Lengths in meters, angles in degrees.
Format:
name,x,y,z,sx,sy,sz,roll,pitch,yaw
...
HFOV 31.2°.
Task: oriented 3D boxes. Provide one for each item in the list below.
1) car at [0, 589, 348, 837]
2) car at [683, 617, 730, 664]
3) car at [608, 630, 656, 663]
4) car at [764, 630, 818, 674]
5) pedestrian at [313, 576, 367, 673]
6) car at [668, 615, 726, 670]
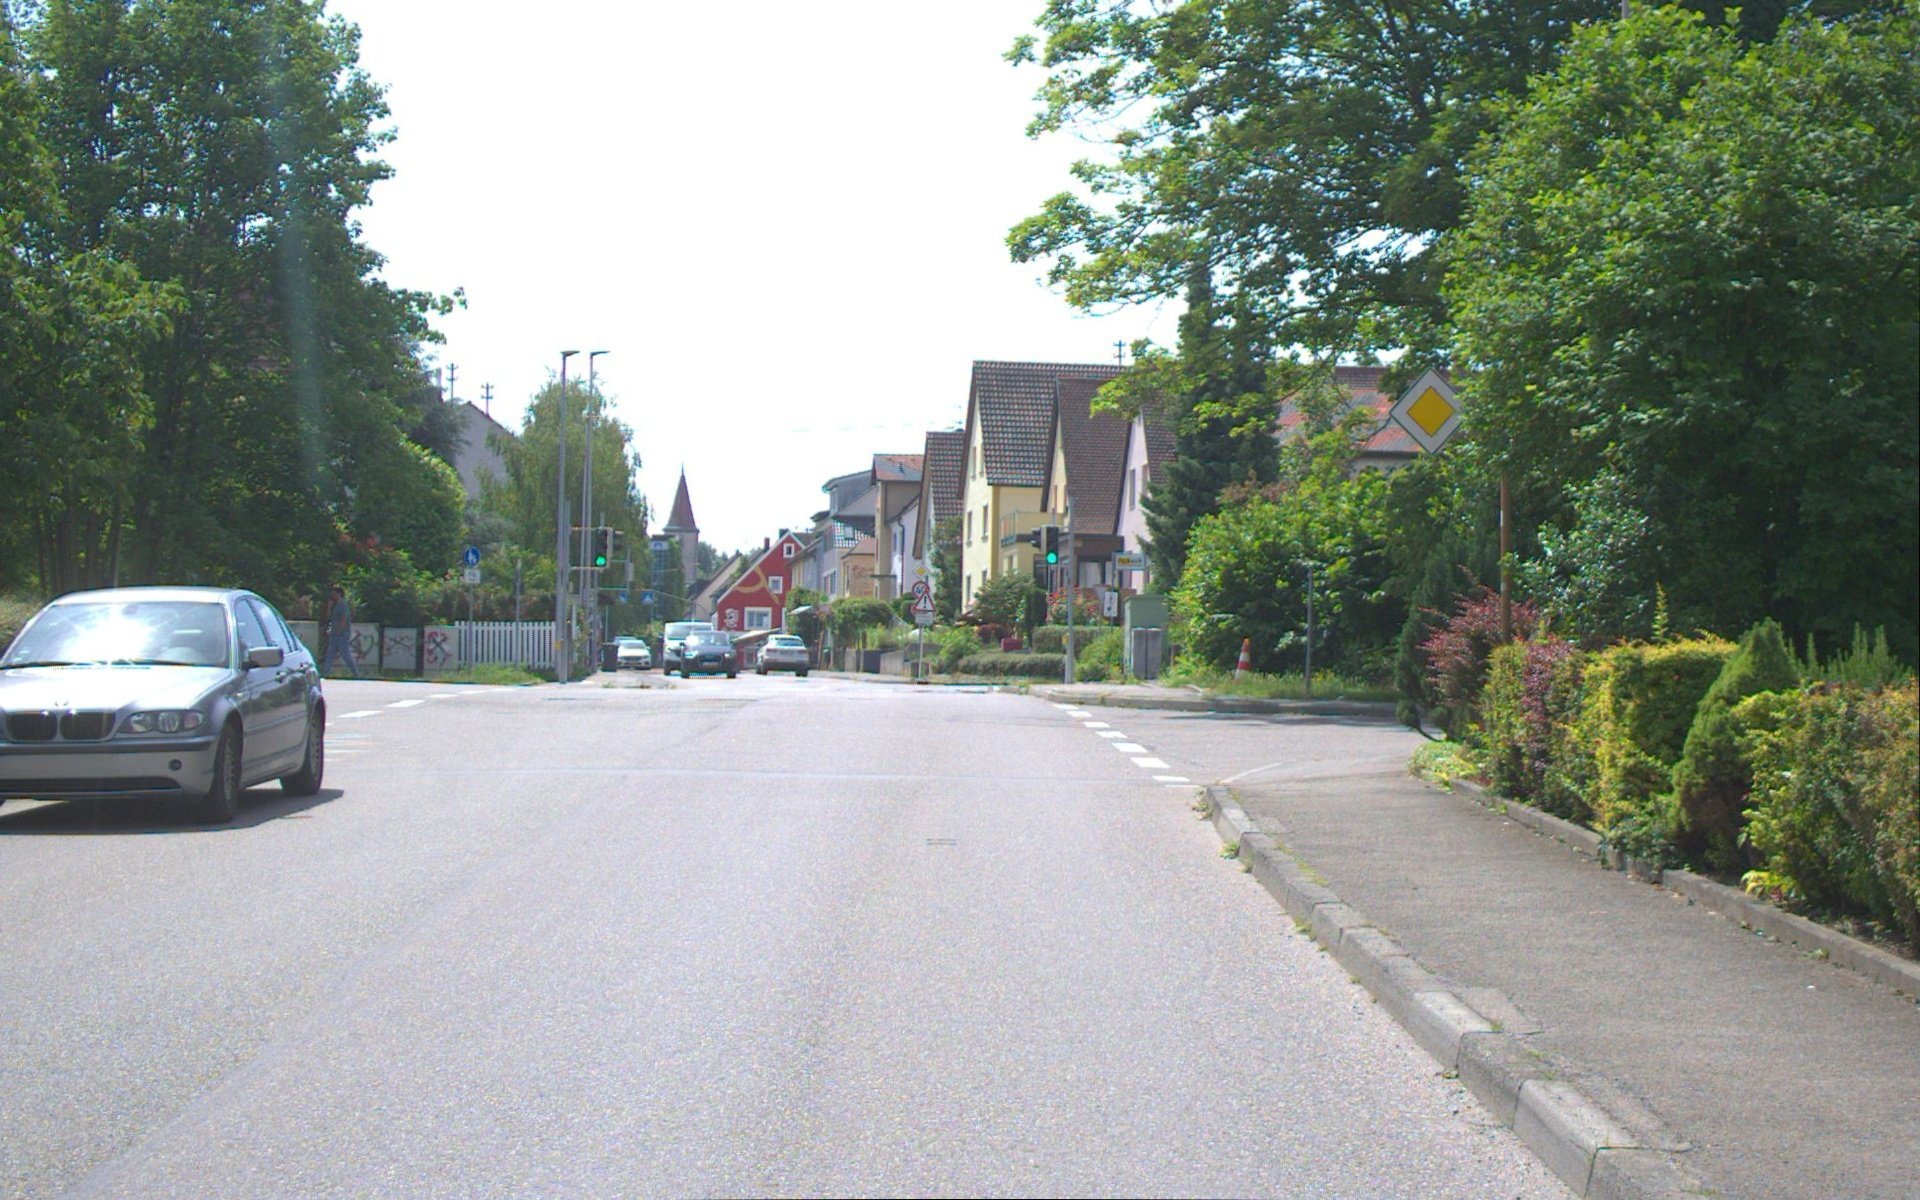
name,x,y,z,sx,sy,sz,roll,pitch,yaw
car,-5.136,0.638,21.630,1.780,1.390,4.409,-1,0,0
car,-8.556,1.353,115.814,1.534,1.536,4.305,1,0,-5
car,-16.169,2.292,169.475,2.110,1.555,4.314,0,-1,-2
car,-6.624,2.040,135.126,1.993,1.598,4.000,0,1,-1
pedestrian,-11.541,0.458,63.972,0.736,1.771,0.689,-2,-2,18
car,-9.773,1.596,127.636,1.879,1.958,4.903,-1,-1,-7
